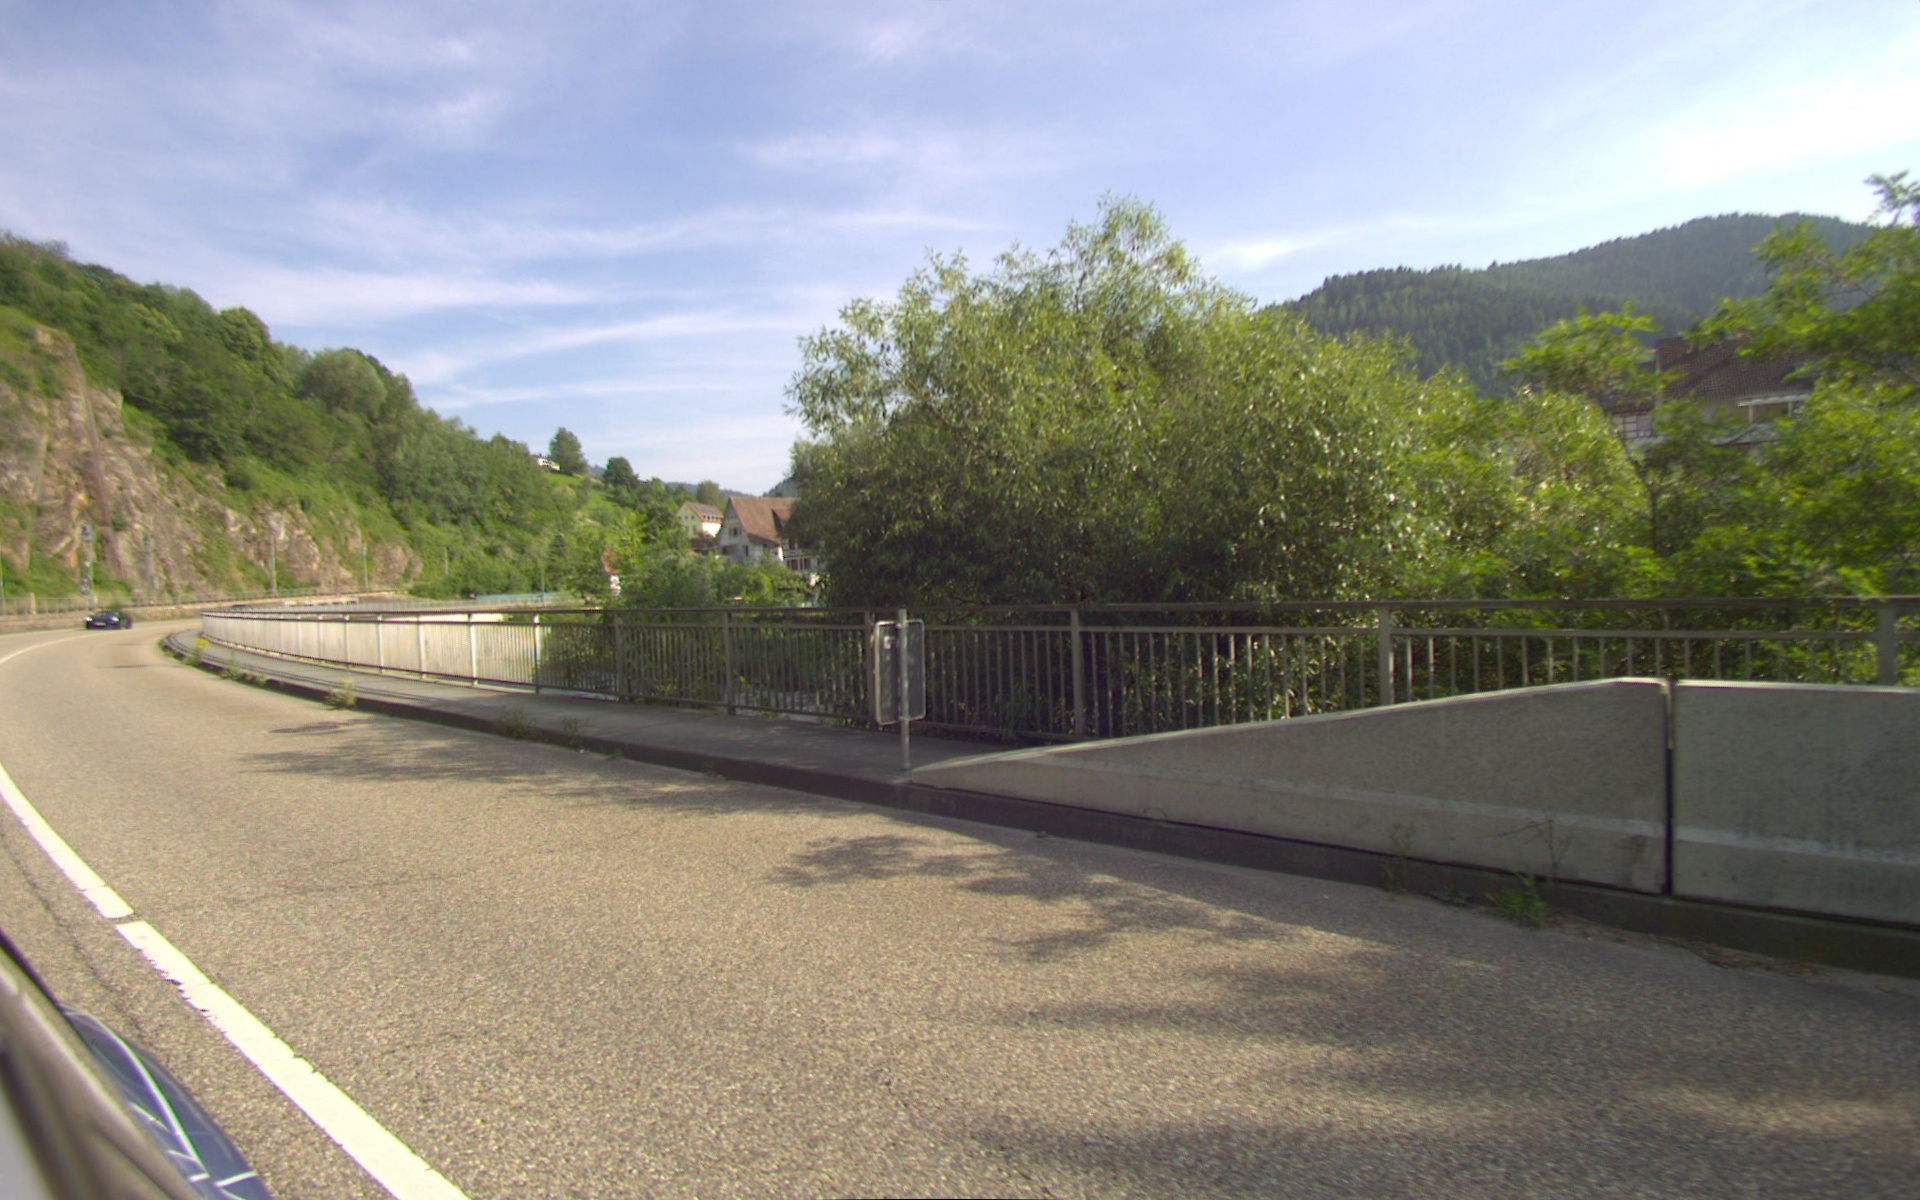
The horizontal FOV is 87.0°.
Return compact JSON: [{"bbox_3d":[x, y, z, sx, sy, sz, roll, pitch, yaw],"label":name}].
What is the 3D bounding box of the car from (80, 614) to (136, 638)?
[{"bbox_3d":[-56.871,1.713,67.611,1.965,1.506,4.234,0,0,-27],"label":"car"}]
